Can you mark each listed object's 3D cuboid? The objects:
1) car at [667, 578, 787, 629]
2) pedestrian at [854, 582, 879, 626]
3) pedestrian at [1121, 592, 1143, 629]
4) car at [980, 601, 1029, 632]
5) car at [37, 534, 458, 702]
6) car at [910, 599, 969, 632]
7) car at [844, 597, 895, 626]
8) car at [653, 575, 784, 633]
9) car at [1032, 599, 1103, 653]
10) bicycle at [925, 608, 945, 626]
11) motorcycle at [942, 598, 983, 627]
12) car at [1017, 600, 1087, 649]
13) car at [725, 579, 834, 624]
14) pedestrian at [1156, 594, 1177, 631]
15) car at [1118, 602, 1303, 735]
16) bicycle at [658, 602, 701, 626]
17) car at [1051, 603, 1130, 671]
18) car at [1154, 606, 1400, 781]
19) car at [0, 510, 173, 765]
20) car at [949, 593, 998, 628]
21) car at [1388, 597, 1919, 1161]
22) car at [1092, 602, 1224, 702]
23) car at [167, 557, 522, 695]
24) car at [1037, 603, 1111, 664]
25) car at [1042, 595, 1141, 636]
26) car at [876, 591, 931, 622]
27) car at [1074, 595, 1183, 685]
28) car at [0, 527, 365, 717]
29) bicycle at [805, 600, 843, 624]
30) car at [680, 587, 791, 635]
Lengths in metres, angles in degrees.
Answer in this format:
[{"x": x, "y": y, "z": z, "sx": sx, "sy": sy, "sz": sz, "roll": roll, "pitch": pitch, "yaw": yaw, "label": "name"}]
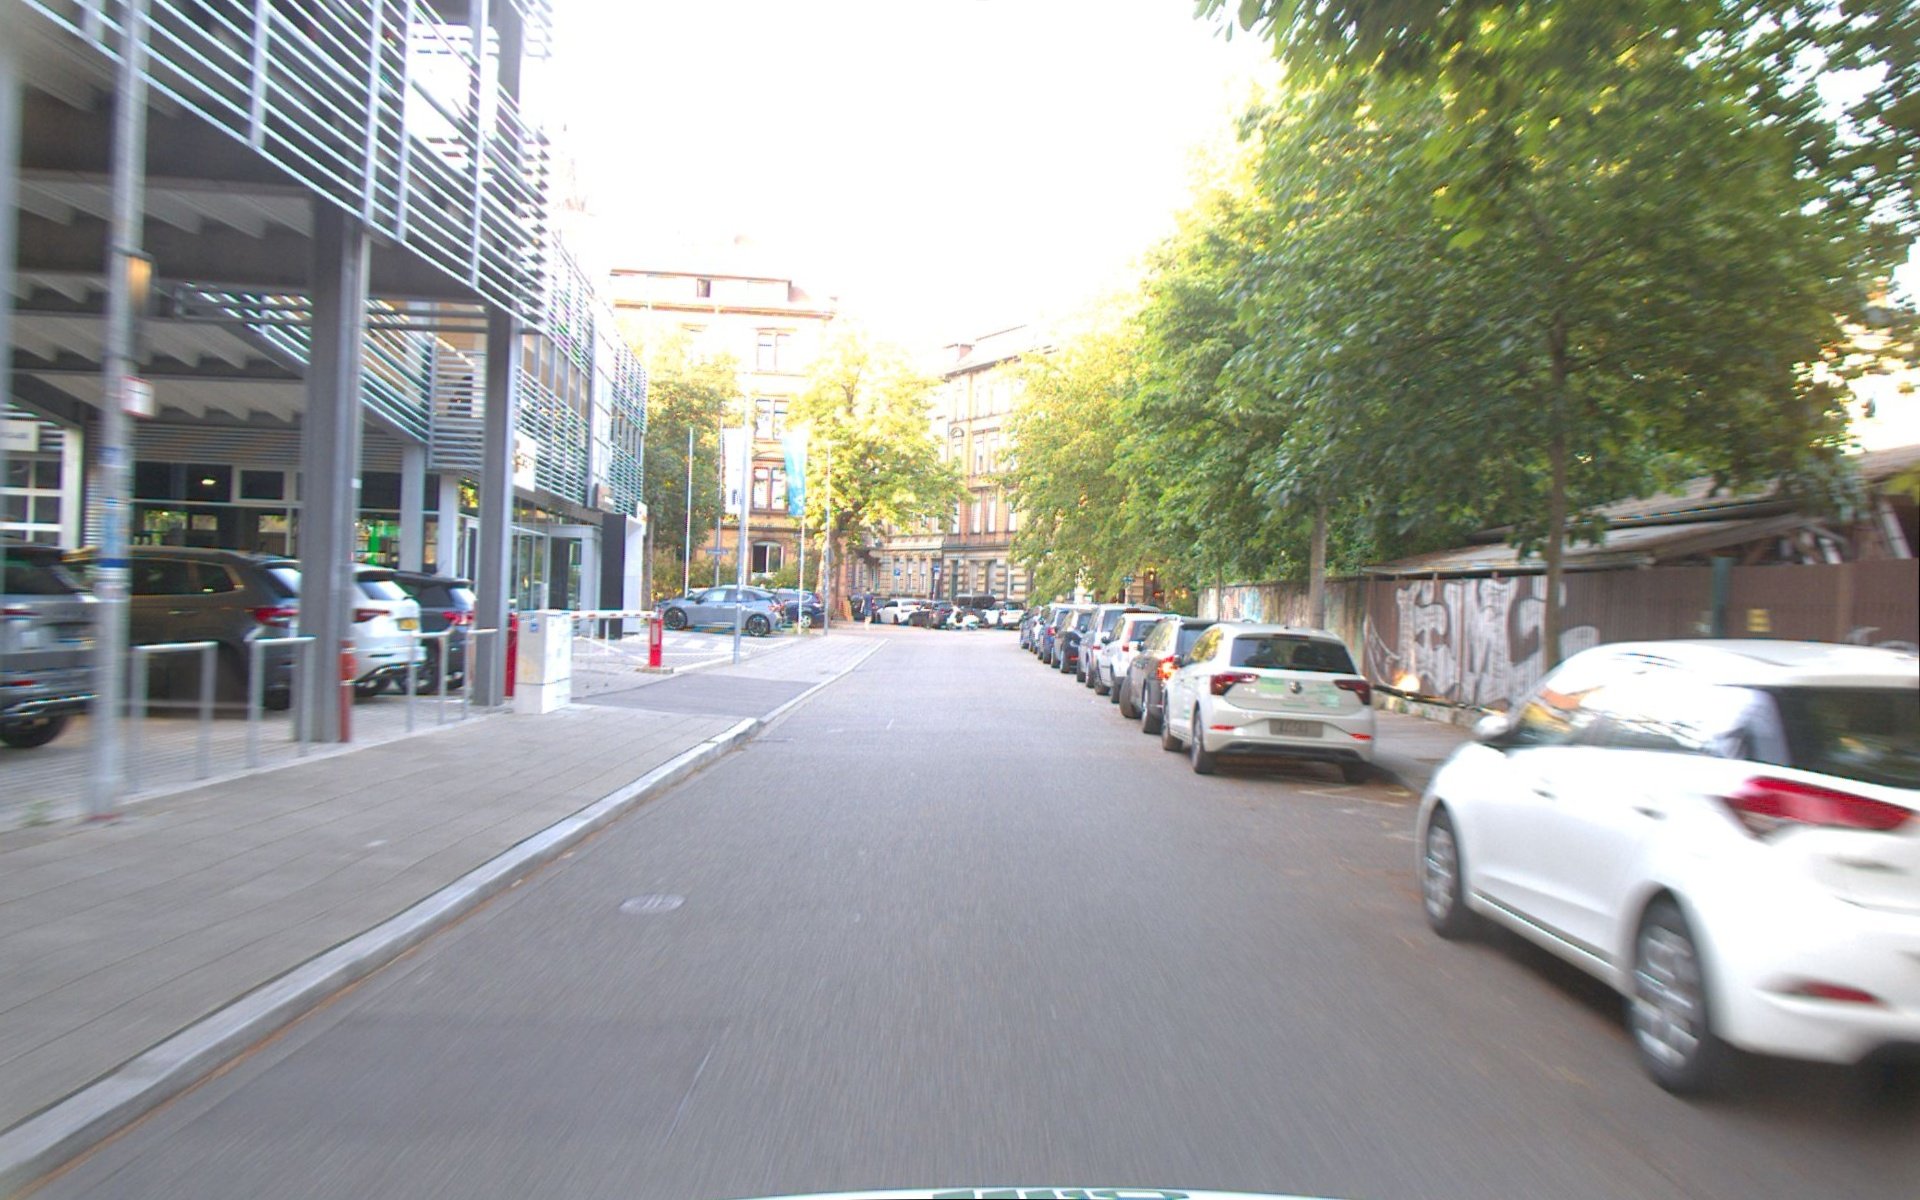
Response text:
[{"x": -8.192, "y": 0.115, "z": 58.499, "sx": 3.985, "sy": 1.646, "sz": 1.765, "roll": 2, "pitch": 1, "yaw": -2, "label": "car"}, {"x": -3.988, "y": 0.177, "z": 70.813, "sx": 0.724, "sy": 1.835, "sz": 1.115, "roll": 2, "pitch": 1, "yaw": -20, "label": "pedestrian"}, {"x": 8.907, "y": 0.537, "z": 85.456, "sx": 0.828, "sy": 1.835, "sz": 0.771, "roll": 1, "pitch": 1, "yaw": -21, "label": "pedestrian"}, {"x": 2.424, "y": 0.903, "z": 90.683, "sx": 1.653, "sy": 1.552, "sz": 2.746, "roll": 2, "pitch": 1, "yaw": -24, "label": "car"}, {"x": -8.096, "y": 0.185, "z": 19.060, "sx": 3.996, "sy": 1.713, "sz": 1.860, "roll": 2, "pitch": 1, "yaw": 1, "label": "car"}, {"x": -1.084, "y": 0.771, "z": 85.574, "sx": 1.633, "sy": 1.455, "sz": 3.961, "roll": 2, "pitch": 1, "yaw": -24, "label": "car"}, {"x": -5.188, "y": 0.628, "z": 94.433, "sx": 1.633, "sy": 1.455, "sz": 3.867, "roll": 2, "pitch": 1, "yaw": -24, "label": "car"}, {"x": -8.040, "y": 0.126, "z": 55.257, "sx": 4.047, "sy": 1.646, "sz": 1.912, "roll": 4, "pitch": 1, "yaw": -2, "label": "car"}, {"x": 3.186, "y": 0.745, "z": 49.607, "sx": 1.661, "sy": 1.502, "sz": 3.557, "roll": 2, "pitch": 0, "yaw": -4, "label": "car"}, {"x": -1.207, "y": 0.814, "z": 80.170, "sx": 0.416, "sy": 0.836, "sz": 1.462, "roll": 2, "pitch": 1, "yaw": 21, "label": "bicycle"}, {"x": 0.118, "y": 0.616, "z": 82.293, "sx": 1.897, "sy": 1.364, "sz": 0.576, "roll": 2, "pitch": 1, "yaw": -11, "label": "motorcycle"}, {"x": 2.965, "y": 0.771, "z": 54.012, "sx": 1.662, "sy": 1.502, "sz": 4.208, "roll": 2, "pitch": 0, "yaw": -5, "label": "car"}, {"x": -8.091, "y": 0.064, "z": 74.170, "sx": 4.737, "sy": 1.762, "sz": 1.918, "roll": 3, "pitch": 1, "yaw": -7, "label": "car"}, {"x": 10.370, "y": 0.625, "z": 83.185, "sx": 0.760, "sy": 1.835, "sz": 0.840, "roll": 2, "pitch": 1, "yaw": -15, "label": "pedestrian"}, {"x": 3.206, "y": 0.825, "z": 21.938, "sx": 1.723, "sy": 1.480, "sz": 4.392, "roll": 2, "pitch": 1, "yaw": 0, "label": "car"}, {"x": -12.570, "y": 0.631, "z": 74.189, "sx": 1.831, "sy": 1.046, "sz": 0.442, "roll": 1, "pitch": 1, "yaw": -25, "label": "bicycle"}, {"x": 3.109, "y": 0.855, "z": 40.019, "sx": 1.564, "sy": 1.502, "sz": 3.773, "roll": 2, "pitch": 0, "yaw": 0, "label": "car"}, {"x": 3.150, "y": 0.868, "z": 17.208, "sx": 1.723, "sy": 1.467, "sz": 4.005, "roll": 2, "pitch": 1, "yaw": 0, "label": "car"}, {"x": -8.202, "y": 0.175, "z": 12.069, "sx": 3.981, "sy": 1.713, "sz": 1.860, "roll": 2, "pitch": 1, "yaw": 1, "label": "car"}, {"x": 0.736, "y": 0.586, "z": 94.054, "sx": 1.653, "sy": 1.813, "sz": 2.992, "roll": 2, "pitch": 1, "yaw": -24, "label": "car"}, {"x": 3.159, "y": 0.819, "z": 6.774, "sx": 1.687, "sy": 1.546, "sz": 4.025, "roll": 2, "pitch": 1, "yaw": -1, "label": "car"}, {"x": 3.277, "y": 0.824, "z": 28.058, "sx": 1.723, "sy": 1.467, "sz": 3.873, "roll": 2, "pitch": 1, "yaw": 0, "label": "car"}, {"x": -7.965, "y": 0.348, "z": 21.691, "sx": 3.907, "sy": 1.613, "sz": 1.859, "roll": 2, "pitch": -2, "yaw": -2, "label": "car"}, {"x": 3.032, "y": 0.872, "z": 44.747, "sx": 1.660, "sy": 1.502, "sz": 4.117, "roll": 2, "pitch": 0, "yaw": 0, "label": "car"}, {"x": 5.273, "y": 0.621, "z": 65.871, "sx": 1.849, "sy": 1.492, "sz": 3.946, "roll": 3, "pitch": 1, "yaw": 43, "label": "car"}, {"x": -3.100, "y": 0.353, "z": 89.965, "sx": 1.632, "sy": 1.455, "sz": 4.140, "roll": 2, "pitch": 1, "yaw": -22, "label": "car"}, {"x": 3.307, "y": 0.756, "z": 33.067, "sx": 1.723, "sy": 1.632, "sz": 3.873, "roll": 2, "pitch": 0, "yaw": 0, "label": "car"}, {"x": -8.348, "y": 0.176, "z": 16.634, "sx": 4.003, "sy": 1.713, "sz": 1.860, "roll": 2, "pitch": 1, "yaw": 1, "label": "car"}, {"x": -6.318, "y": 0.559, "z": 76.815, "sx": 1.650, "sy": 1.046, "sz": 0.442, "roll": 1, "pitch": 1, "yaw": -25, "label": "bicycle"}, {"x": -8.483, "y": 0.397, "z": 62.691, "sx": 3.966, "sy": 1.501, "sz": 1.919, "roll": 4, "pitch": 1, "yaw": -4, "label": "car"}]
